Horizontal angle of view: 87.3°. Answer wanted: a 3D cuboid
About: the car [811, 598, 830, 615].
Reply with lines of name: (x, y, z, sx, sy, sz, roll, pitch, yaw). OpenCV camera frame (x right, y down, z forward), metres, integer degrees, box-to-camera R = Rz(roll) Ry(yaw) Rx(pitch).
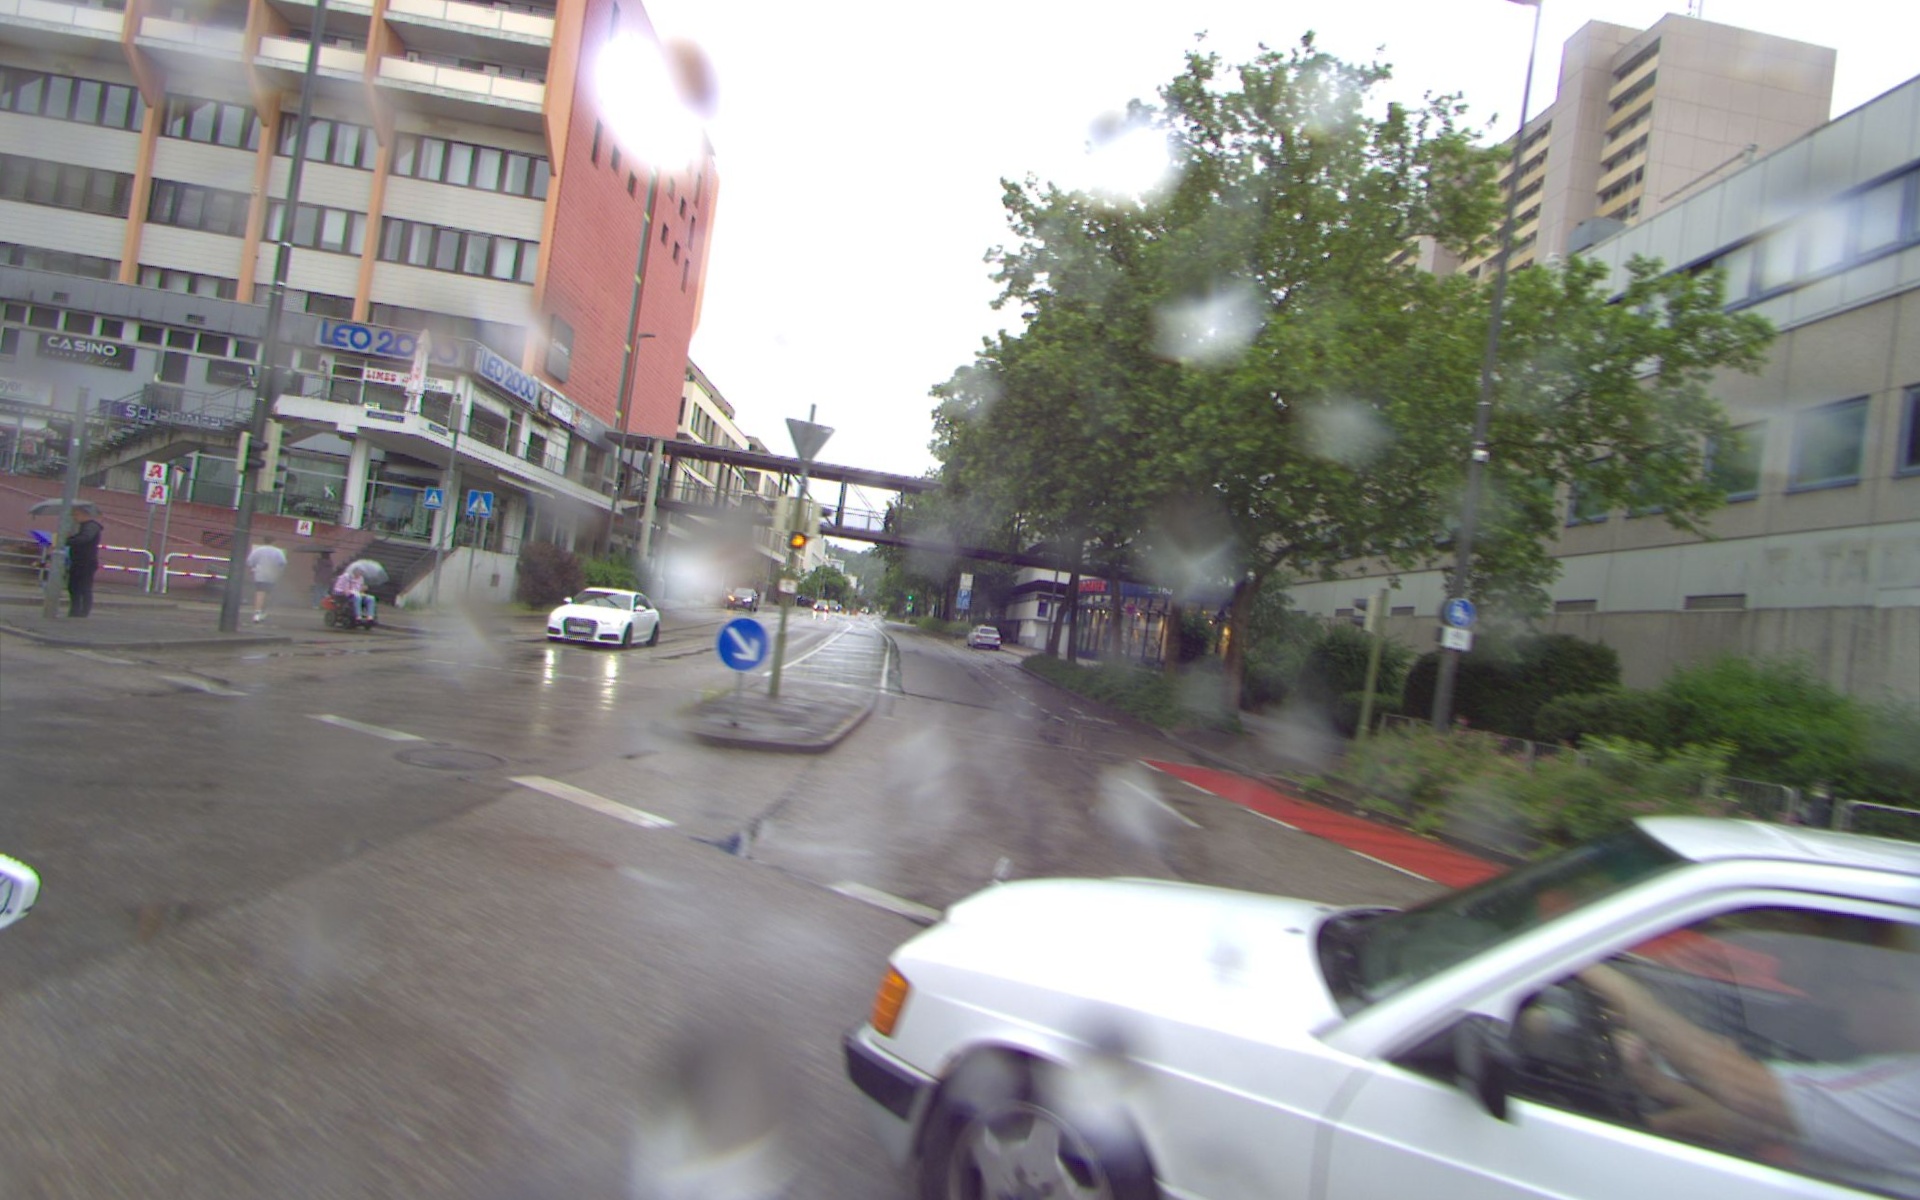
car: (-17.051, 0.782, 123.183, 1.685, 1.828, 4.001, 7, -1, -2)

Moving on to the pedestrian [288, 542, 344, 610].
pedestrian: (-17.697, -0.654, 27.662, 0.915, 1.688, 0.795, 7, -1, 31)

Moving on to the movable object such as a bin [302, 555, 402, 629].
movable object such as a bin: (-12.528, -0.152, 20.723, 1.430, 1.349, 1.131, 6, 1, 29)

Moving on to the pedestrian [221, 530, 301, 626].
pedestrian: (-13.680, -0.428, 19.682, 1.112, 1.710, 0.828, 7, -1, 38)

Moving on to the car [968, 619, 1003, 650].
car: (1.661, 2.288, 67.878, 1.803, 1.827, 3.999, 7, -1, -4)

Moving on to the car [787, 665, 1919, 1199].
car: (1.807, 1.109, 2.076, 4.200, 1.466, 1.635, 5, -1, 33)

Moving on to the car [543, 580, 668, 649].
car: (-8.966, 0.379, 25.878, 1.780, 1.423, 4.787, 6, -1, -5)

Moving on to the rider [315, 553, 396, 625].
rider: (-12.430, -0.216, 20.685, 1.072, 1.301, 0.923, 8, 2, 29)

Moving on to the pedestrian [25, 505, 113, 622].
pedestrian: (-13.333, -0.541, 15.060, 0.645, 1.627, 0.708, 7, 0, 33)

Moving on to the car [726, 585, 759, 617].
car: (-15.678, 0.089, 72.688, 1.967, 2.037, 3.994, 7, -1, -10)

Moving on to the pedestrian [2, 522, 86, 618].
pedestrian: (-14.123, -0.457, 15.517, 0.645, 1.361, 0.708, 6, -1, 33)
